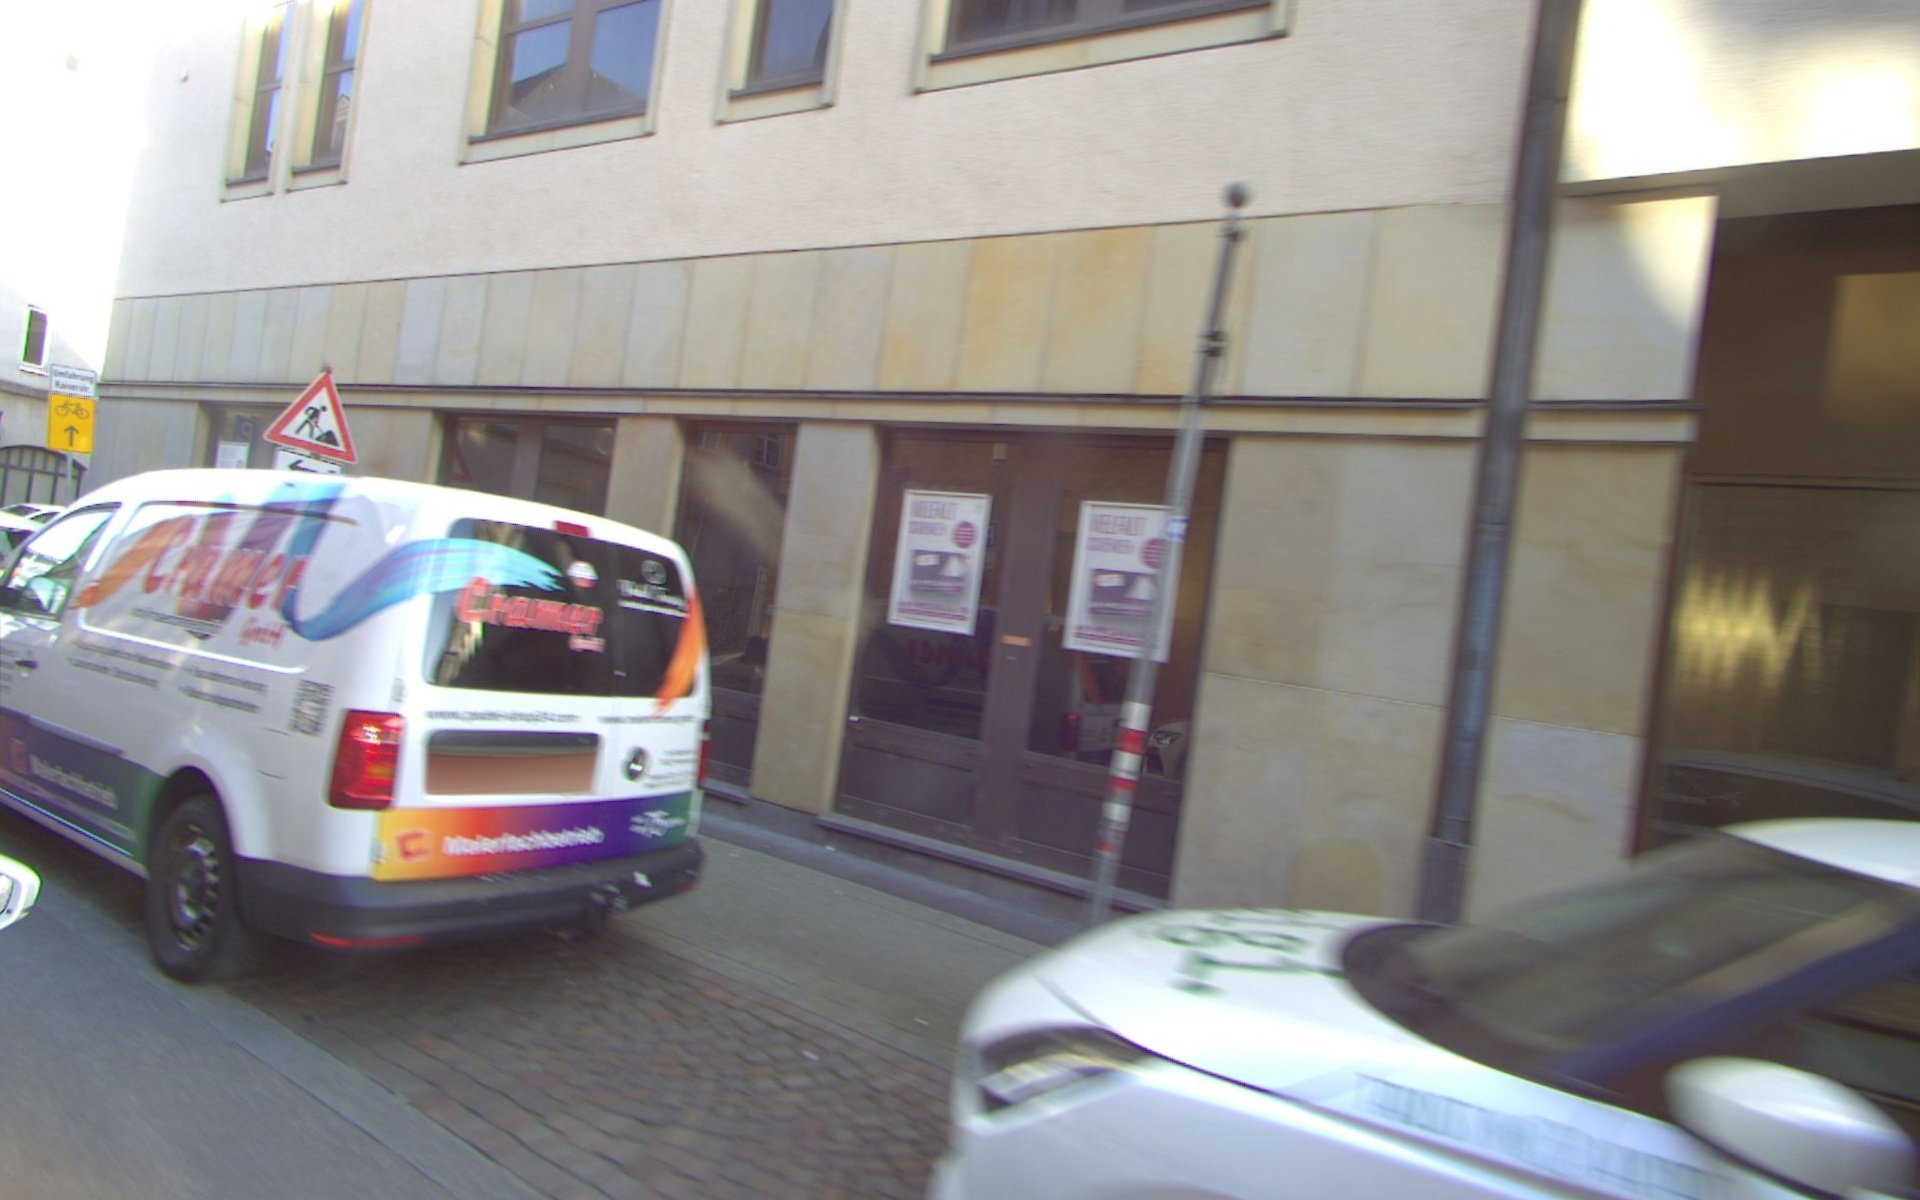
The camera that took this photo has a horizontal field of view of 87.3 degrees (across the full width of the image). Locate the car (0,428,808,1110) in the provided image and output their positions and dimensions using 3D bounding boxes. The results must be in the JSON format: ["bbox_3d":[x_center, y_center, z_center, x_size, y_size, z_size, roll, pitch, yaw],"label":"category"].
[{"bbox_3d":[-3.418,0.316,4.822,5.126,1.811,1.835,7,-3,30],"label":"car"}]

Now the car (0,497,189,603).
[{"bbox_3d":[-17.403,-1.046,18.812,1.869,1.570,4.229,7,-3,28],"label":"car"}]

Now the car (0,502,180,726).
[{"bbox_3d":[-8.393,-0.115,7.878,3.990,1.535,1.895,7,-2,26],"label":"car"}]

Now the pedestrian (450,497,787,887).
[{"bbox_3d":[-1.861,0.461,5.556,1.178,1.822,1.044,7,-1,30],"label":"pedestrian"}]

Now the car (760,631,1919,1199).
[{"bbox_3d":[1.871,1.152,1.693,4.097,1.493,1.847,7,-4,30],"label":"car"}]
